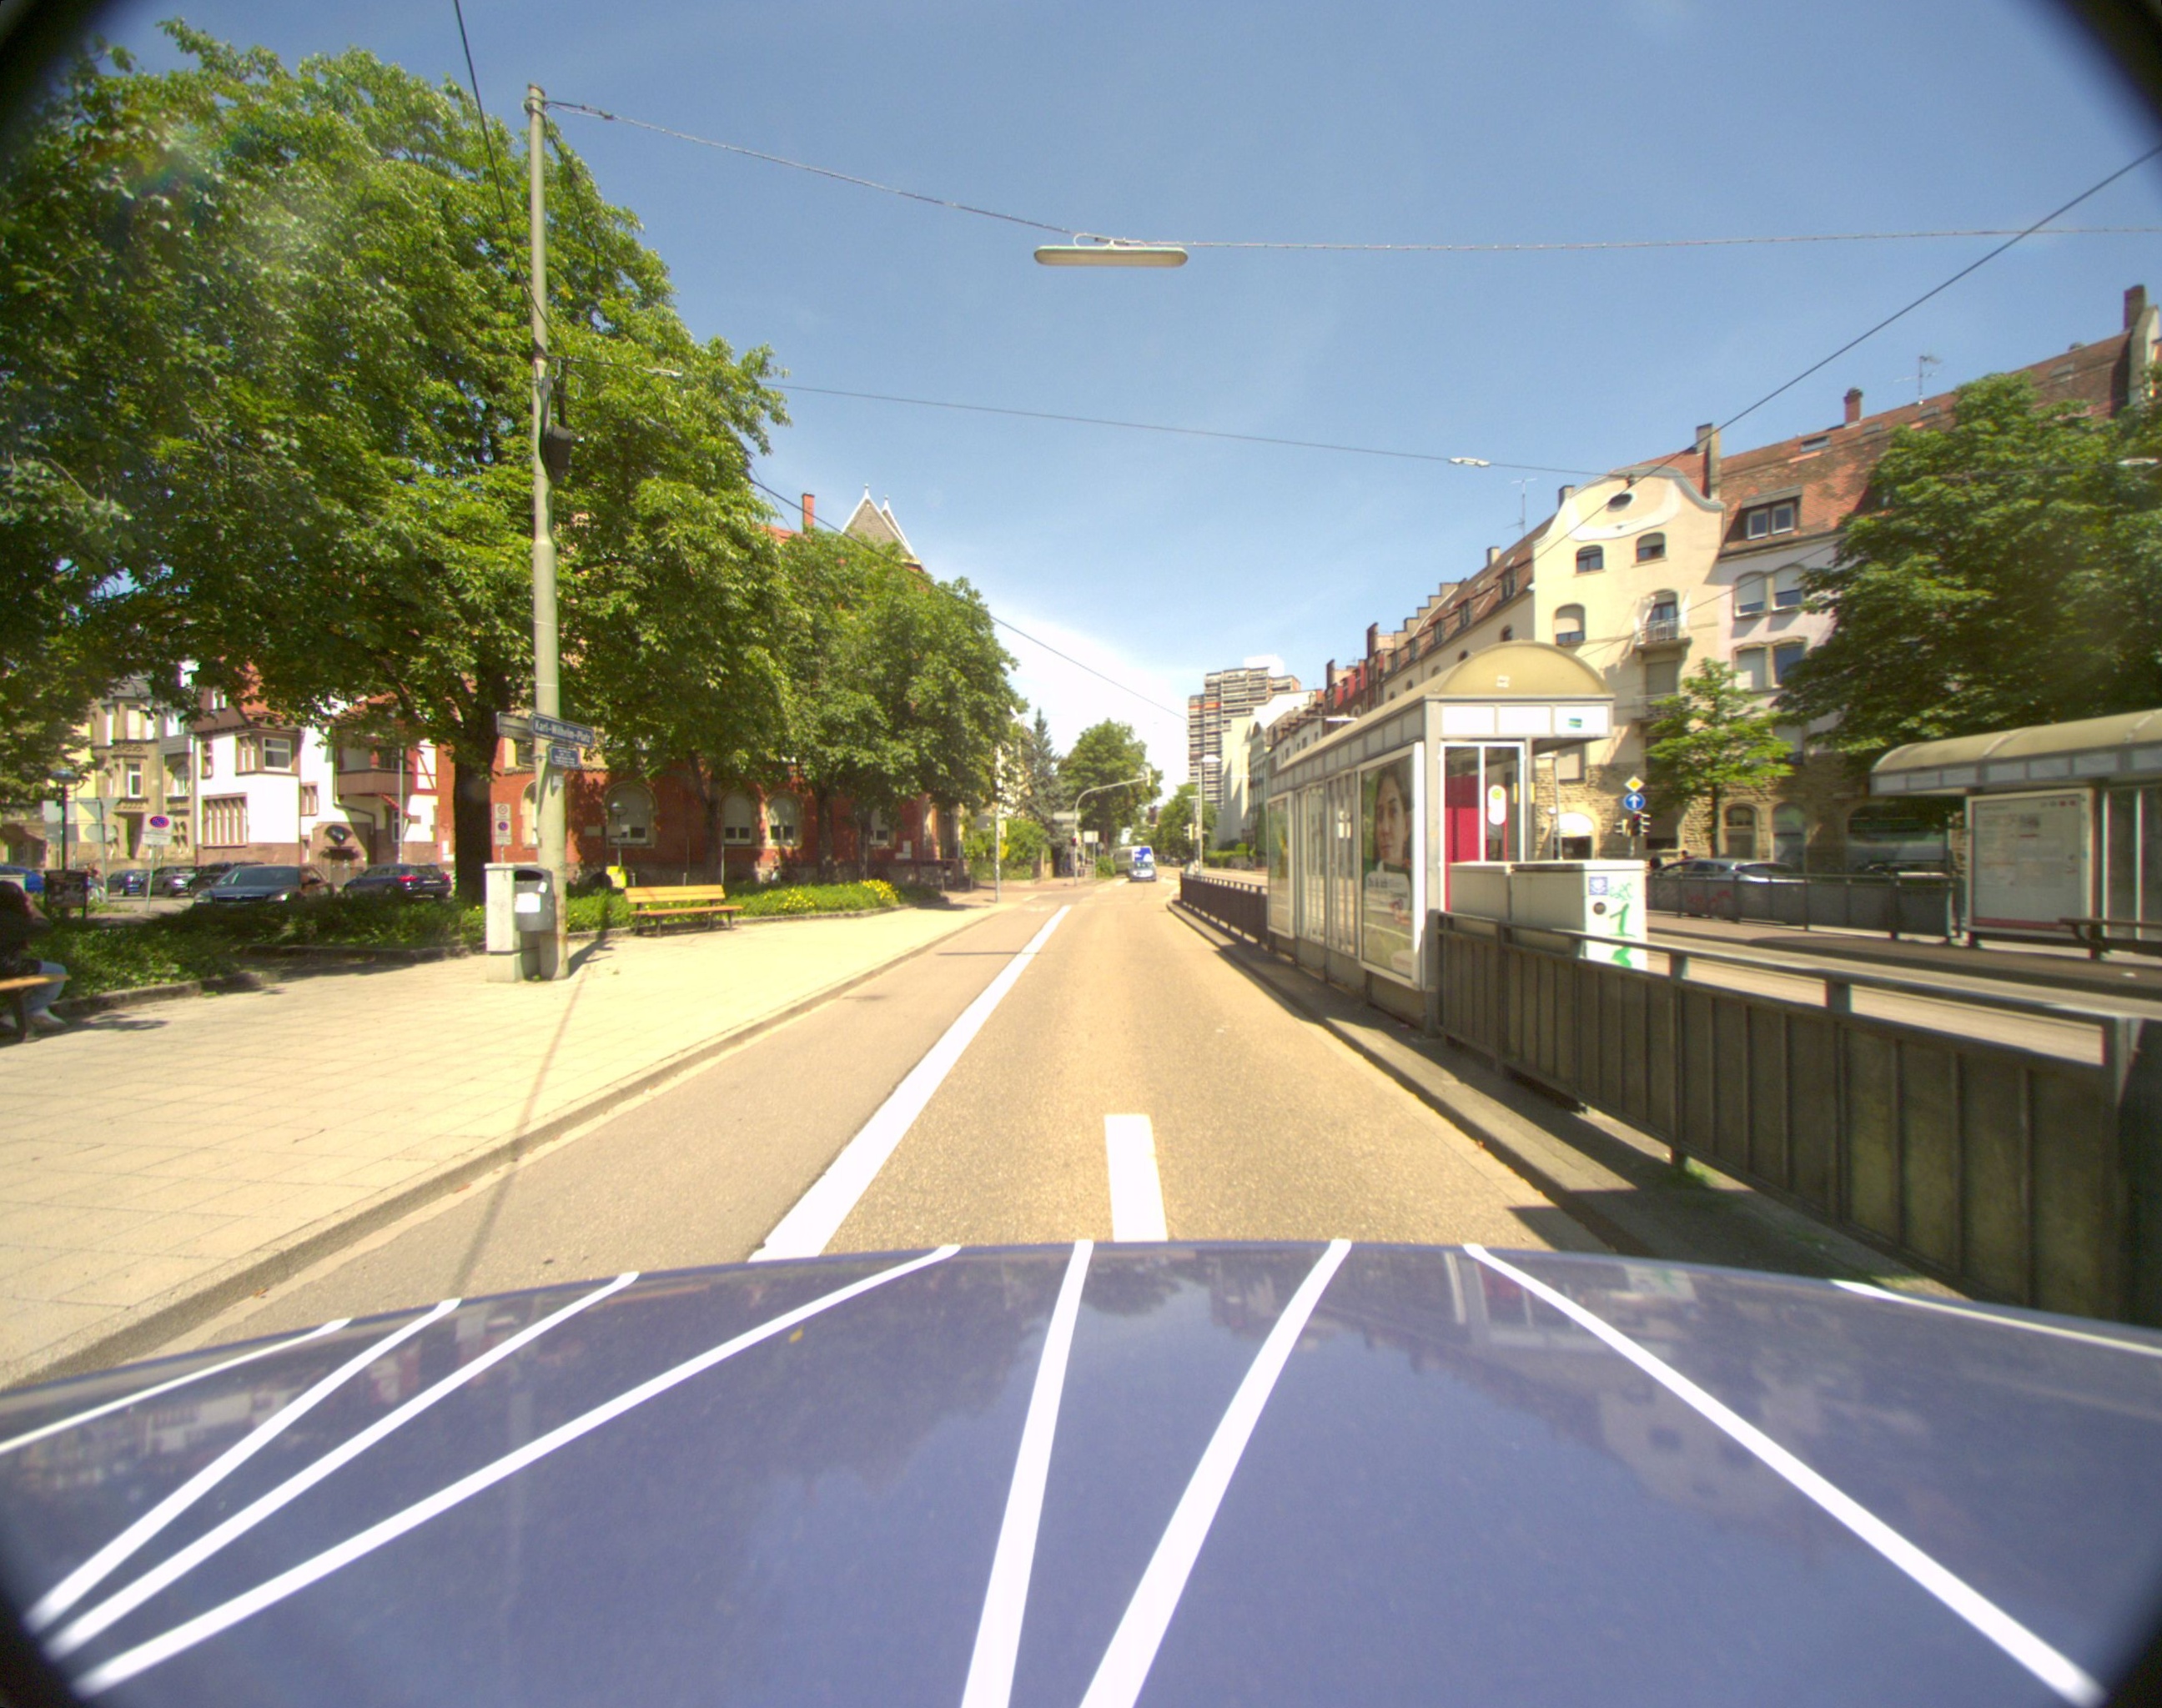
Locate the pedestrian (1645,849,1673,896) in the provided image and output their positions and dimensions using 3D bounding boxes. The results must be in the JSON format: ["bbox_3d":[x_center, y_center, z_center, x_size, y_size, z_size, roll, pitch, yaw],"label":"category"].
[{"bbox_3d":[20.139,0.647,26.479,0.594,1.637,0.474,0,0,1],"label":"pedestrian"}]

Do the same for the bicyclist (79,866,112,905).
[{"bbox_3d":[-36.760,1.170,28.350,0.632,1.412,0.544,-2,1,21],"label":"bicyclist"}]

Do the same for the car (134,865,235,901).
[{"bbox_3d":[-44.145,1.433,37.408,4.299,1.608,1.941,-2,1,23],"label":"car"}]

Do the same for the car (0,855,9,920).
[{"bbox_3d":[-37.655,1.203,23.790,1.934,2.178,4.315,-2,1,23],"label":"car"}]

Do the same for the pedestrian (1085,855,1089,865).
[{"bbox_3d":[1.046,1.017,130.740,0.686,1.732,0.660,-2,1,3],"label":"pedestrian"}]

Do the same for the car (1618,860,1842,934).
[{"bbox_3d":[14.842,0.907,17.722,1.812,1.386,3.999,-2,1,1],"label":"car"}]

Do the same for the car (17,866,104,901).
[{"bbox_3d":[-59.174,1.713,44.075,4.299,1.862,1.941,-2,1,23],"label":"car"}]

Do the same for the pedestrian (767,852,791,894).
[{"bbox_3d":[-13.176,0.817,33.163,0.840,1.813,0.672,-1,1,-35],"label":"pedestrian"}]

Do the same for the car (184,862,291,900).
[{"bbox_3d":[-39.585,1.277,35.662,4.299,1.608,1.941,-2,1,23],"label":"car"}]

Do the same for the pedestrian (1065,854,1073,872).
[{"bbox_3d":[-1.142,0.851,70.039,0.702,1.645,0.665,0,0,1],"label":"pedestrian"}]

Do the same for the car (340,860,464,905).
[{"bbox_3d":[-27.039,1.135,30.282,4.299,1.608,1.941,-2,1,23],"label":"car"}]

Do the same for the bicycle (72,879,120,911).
[{"bbox_3d":[-36.754,1.531,28.361,1.776,1.151,0.544,-2,1,20],"label":"bicycle"}]

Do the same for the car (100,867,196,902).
[{"bbox_3d":[-48.418,1.575,39.430,4.299,1.608,1.941,-2,1,23],"label":"car"}]

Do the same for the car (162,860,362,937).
[{"bbox_3d":[-20.371,1.002,19.195,1.941,1.608,4.515,-3,1,-27],"label":"car"}]

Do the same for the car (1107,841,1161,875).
[{"bbox_3d":[4.378,0.337,64.315,2.276,2.658,5.817,-3,1,-20],"label":"car"}]

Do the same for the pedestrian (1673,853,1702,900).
[{"bbox_3d":[20.292,0.750,25.421,0.594,1.542,0.474,0,0,-1],"label":"pedestrian"}]

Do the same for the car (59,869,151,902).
[{"bbox_3d":[-53.019,1.731,41.265,4.299,1.608,1.941,-2,1,23],"label":"car"}]

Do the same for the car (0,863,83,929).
[{"bbox_3d":[-32.839,1.303,22.022,1.934,1.869,4.315,-2,1,23],"label":"car"}]

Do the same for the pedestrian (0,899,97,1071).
[{"bbox_3d":[-7.739,0.912,5.413,0.566,1.136,0.725,0,1,-16],"label":"pedestrian"}]

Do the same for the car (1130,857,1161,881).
[{"bbox_3d":[4.322,0.983,50.846,1.895,1.372,4.001,-2,1,5],"label":"car"}]
